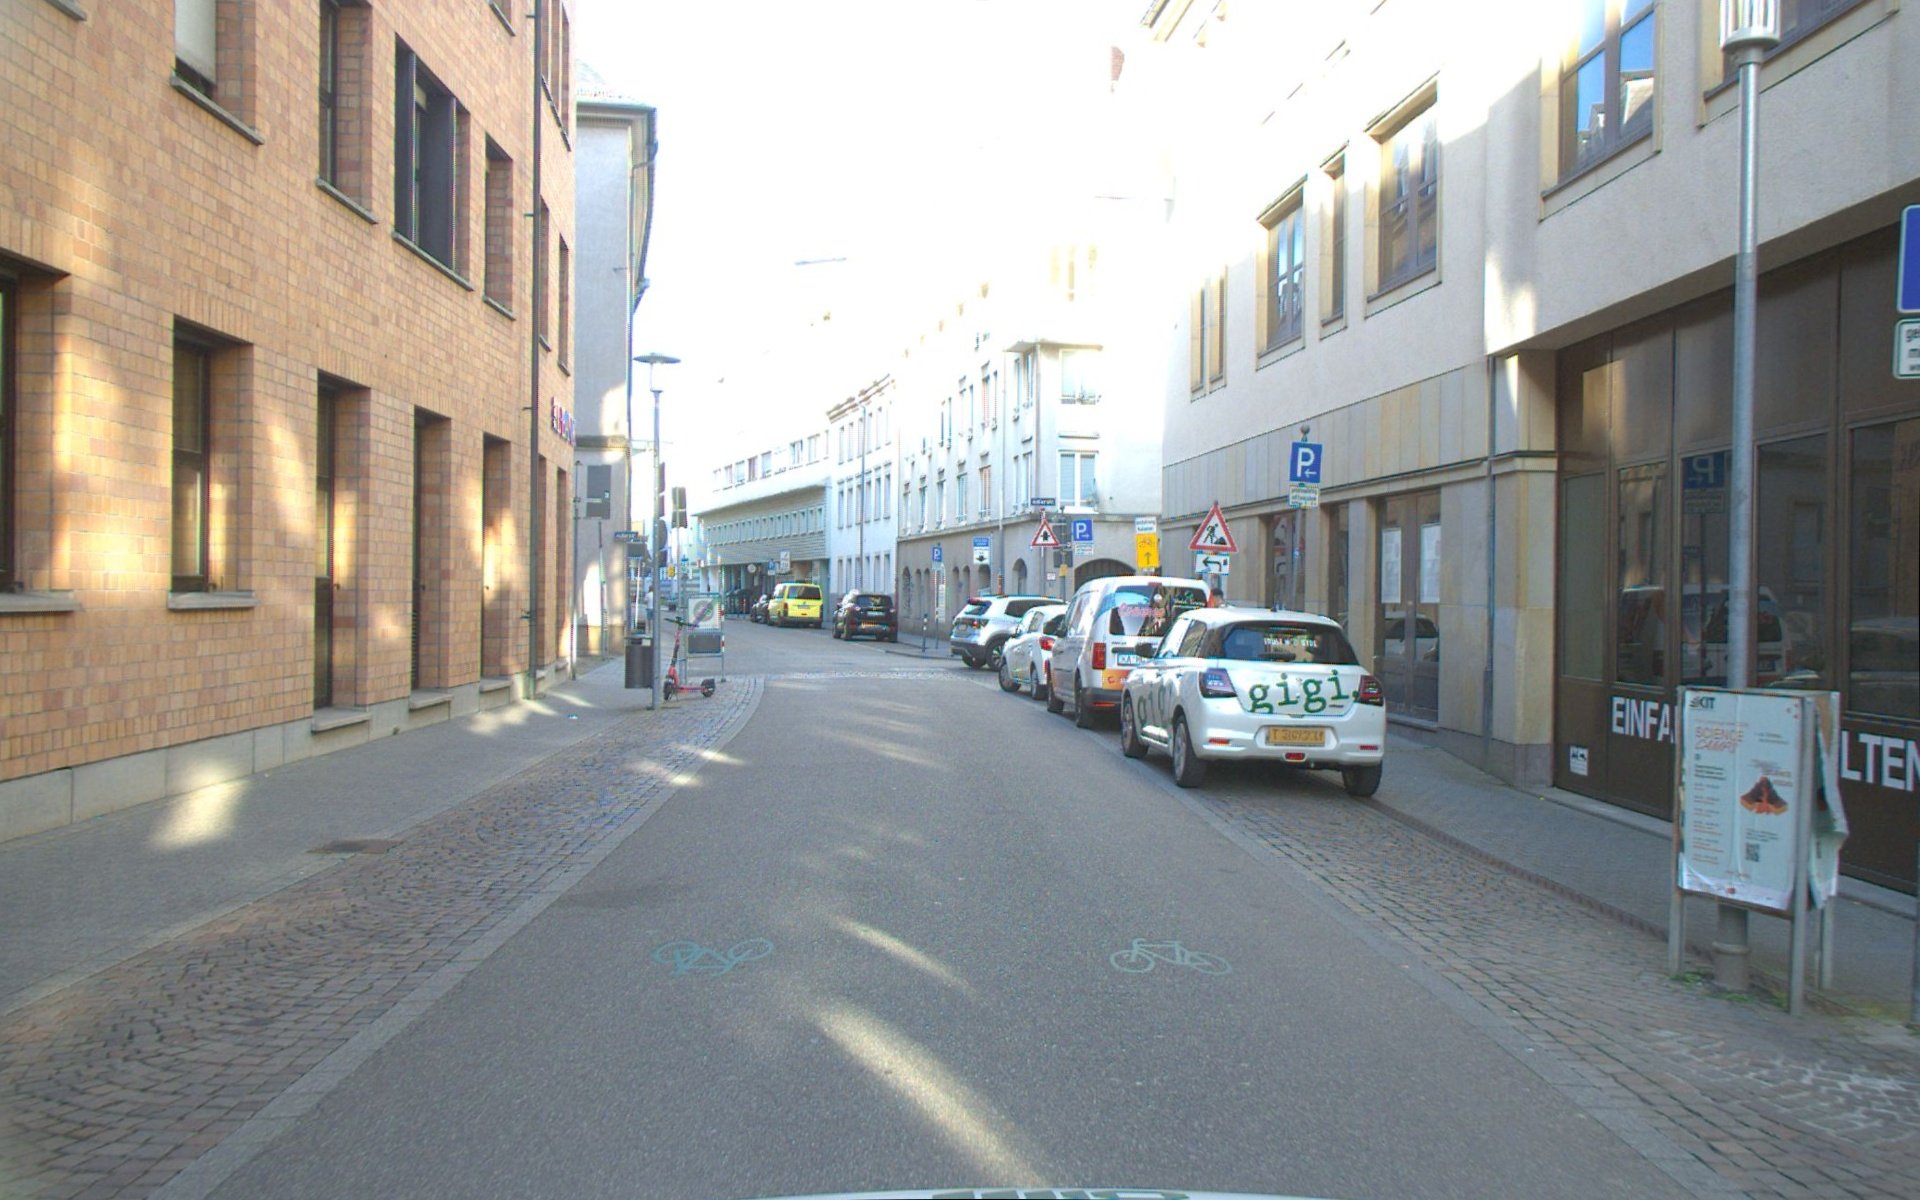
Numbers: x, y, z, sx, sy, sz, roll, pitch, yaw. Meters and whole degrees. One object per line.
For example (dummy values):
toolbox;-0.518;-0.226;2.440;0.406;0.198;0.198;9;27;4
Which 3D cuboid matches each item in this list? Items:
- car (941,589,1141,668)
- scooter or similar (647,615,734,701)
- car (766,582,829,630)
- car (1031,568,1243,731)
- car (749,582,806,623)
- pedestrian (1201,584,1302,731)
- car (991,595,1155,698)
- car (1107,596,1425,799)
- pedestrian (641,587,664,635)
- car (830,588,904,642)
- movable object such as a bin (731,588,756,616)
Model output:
car;1.740;0.576;35.577;3.930;1.589;1.831;0;0;-22
scooter or similar;-4.097;0.864;25.225;0.683;1.238;1.357;0;0;23
car;-7.234;0.237;73.216;2.020;2.049;4.156;0;0;-16
car;2.137;0.565;21.503;1.794;1.822;5.209;1;0;-4
car;-8.725;0.106;78.891;2.020;1.905;4.082;0;0;-16
pedestrian;3.739;0.727;21.322;1.021;1.833;1.198;0;-1;-4
car;1.775;0.718;27.436;1.853;1.545;4.054;1;0;-9
car;2.628;0.775;15.221;1.804;1.504;4.164;3;0;-5
pedestrian;-11.241;0.403;60.412;0.754;1.754;0.683;1;0;-18
car;-3.238;0.485;57.041;1.933;1.721;4.089;2;0;-12
movable object such as a bin;-12.716;0.102;97.049;1.115;1.585;1.729;1;0;-20
